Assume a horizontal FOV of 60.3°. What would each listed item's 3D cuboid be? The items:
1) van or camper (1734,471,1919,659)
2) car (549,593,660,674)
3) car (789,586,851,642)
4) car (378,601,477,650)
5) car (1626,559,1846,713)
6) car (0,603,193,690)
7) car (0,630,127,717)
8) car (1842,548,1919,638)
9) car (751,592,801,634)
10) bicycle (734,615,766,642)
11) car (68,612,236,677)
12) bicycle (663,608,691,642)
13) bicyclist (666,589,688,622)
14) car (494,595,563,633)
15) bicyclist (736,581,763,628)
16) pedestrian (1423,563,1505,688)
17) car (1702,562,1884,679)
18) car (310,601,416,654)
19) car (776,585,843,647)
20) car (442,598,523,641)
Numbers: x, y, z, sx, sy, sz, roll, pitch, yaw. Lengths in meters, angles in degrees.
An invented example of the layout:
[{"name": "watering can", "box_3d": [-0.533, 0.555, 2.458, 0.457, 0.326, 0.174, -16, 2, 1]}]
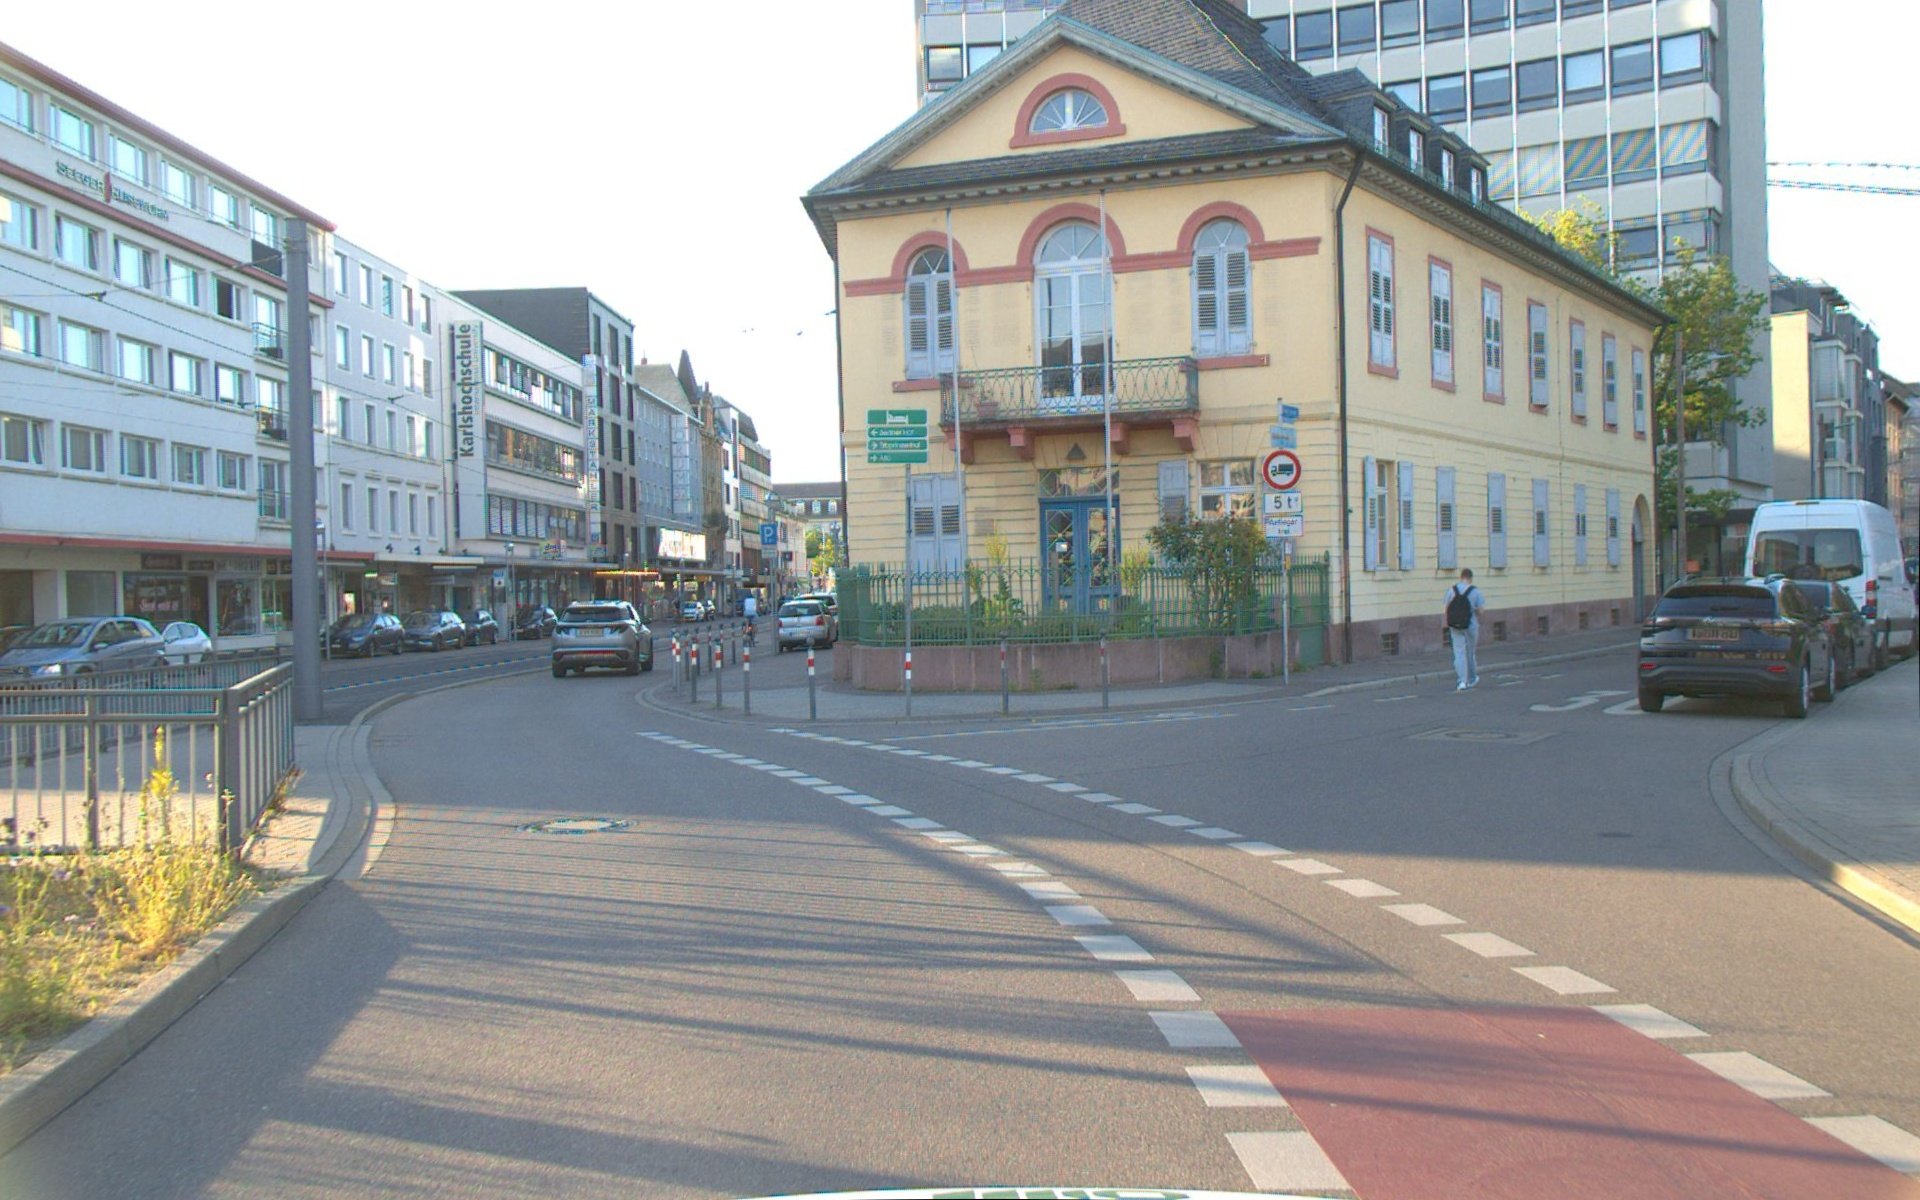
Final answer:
[{"name": "van or camper", "box_3d": [14.953, -0.575, 28.101, 2.042, 2.823, 6.425, -1, 0, 36]}, {"name": "car", "box_3d": [-8.014, 0.706, 37.633, 1.905, 1.690, 4.531, -1, 0, -5]}, {"name": "car", "box_3d": [-4.597, 0.448, 54.704, 1.697, 1.738, 3.805, -2, 0, -1]}, {"name": "car", "box_3d": [-20.284, 0.934, 63.193, 1.951, 1.694, 4.641, -2, 0, 4]}, {"name": "car", "box_3d": [9.156, 0.339, 19.321, 1.747, 1.570, 4.279, -1, 1, 33]}, {"name": "car", "box_3d": [-17.859, 0.903, 33.705, 2.151, 1.586, 4.283, -1, 0, 5]}, {"name": "car", "box_3d": [-21.124, 1.620, 37.270, 1.951, 1.694, 4.843, -1, 0, 4]}, {"name": "car", "box_3d": [20.687, -0.192, 36.440, 1.684, 1.881, 4.008, -1, 1, 36]}, {"name": "car", "box_3d": [-8.382, 0.564, 75.446, 1.771, 1.840, 4.000, -2, 0, 0]}, {"name": "bicycle", "box_3d": [-7.313, 0.982, 57.711, 0.812, 0.885, 2.549, -2, 0, -1]}, {"name": "car", "box_3d": [-21.018, 1.129, 43.259, 1.951, 1.490, 4.404, -1, 0, 4]}, {"name": "bicycle", "box_3d": [-17.670, 1.537, 103.398, 1.156, 2.049, 3.341, -1, 0, -1]}, {"name": "bicyclist", "box_3d": [-17.702, 0.355, 103.458, 1.143, 2.049, 1.045, -1, 0, -2]}, {"name": "car", "box_3d": [-20.431, 0.657, 78.498, 1.951, 1.694, 4.002, -1, 0, 4]}, {"name": "bicyclist", "box_3d": [-7.348, 0.162, 57.725, 0.812, 1.596, 0.787, -2, 0, -1]}, {"name": "pedestrian", "box_3d": [7.291, 0.353, 23.917, 0.862, 1.754, 0.825, -1, 1, 39]}, {"name": "car", "box_3d": [11.867, 0.233, 23.410, 1.699, 1.454, 4.459, -1, 1, 35]}, {"name": "car", "box_3d": [-20.567, 0.918, 57.155, 1.951, 1.694, 4.002, -1, 0, 4]}, {"name": "car", "box_3d": [-4.462, 0.463, 49.458, 1.697, 1.738, 3.439, -2, 0, -1]}, {"name": "car", "box_3d": [-20.095, 0.787, 69.795, 1.951, 1.694, 4.002, -2, 0, 4]}]
